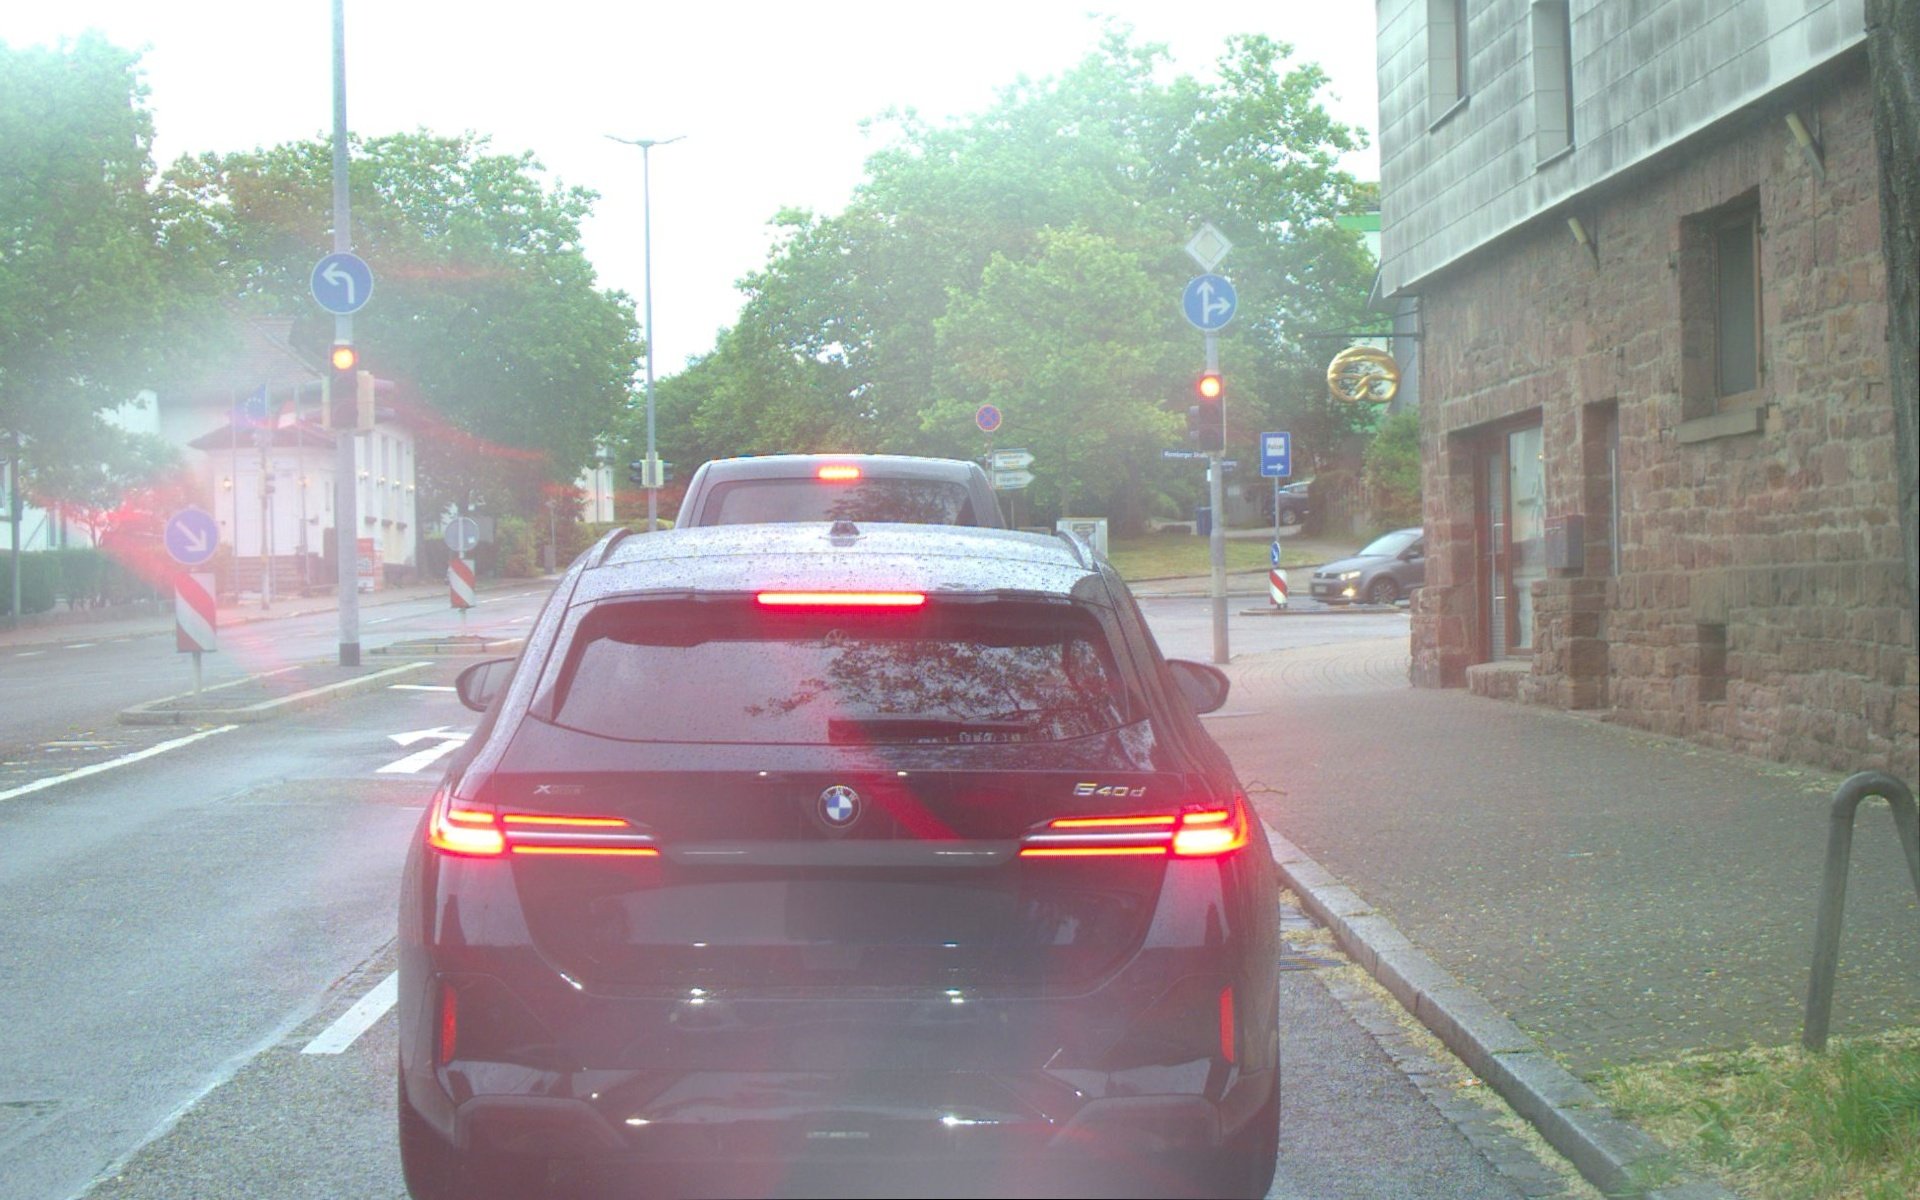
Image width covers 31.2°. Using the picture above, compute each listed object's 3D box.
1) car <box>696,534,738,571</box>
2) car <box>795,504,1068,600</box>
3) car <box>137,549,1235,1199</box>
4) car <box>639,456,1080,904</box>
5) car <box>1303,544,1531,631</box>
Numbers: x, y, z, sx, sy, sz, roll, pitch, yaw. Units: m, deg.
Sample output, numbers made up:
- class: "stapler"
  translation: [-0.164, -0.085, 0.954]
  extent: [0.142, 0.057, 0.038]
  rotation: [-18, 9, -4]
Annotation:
- class: "car"
  translation: [-9.464, -1.873, 134.074]
  extent: [1.464, 1.393, 3.322]
  rotation: [0, 1, -1]
- class: "car"
  translation: [-0.525, -0.875, 62.164]
  extent: [4.467, 1.581, 2.072]
  rotation: [-2, 1, -19]
- class: "car"
  translation: [-0.631, 0.609, 8.738]
  extent: [2.064, 1.441, 4.484]
  rotation: [0, 1, -3]
- class: "car"
  translation: [-0.499, 0.272, 15.988]
  extent: [1.783, 1.811, 4.001]
  rotation: [0, 1, -3]
- class: "car"
  translation: [8.291, -0.238, 62.625]
  extent: [3.942, 1.504, 2.000]
  rotation: [0, 1, 2]
